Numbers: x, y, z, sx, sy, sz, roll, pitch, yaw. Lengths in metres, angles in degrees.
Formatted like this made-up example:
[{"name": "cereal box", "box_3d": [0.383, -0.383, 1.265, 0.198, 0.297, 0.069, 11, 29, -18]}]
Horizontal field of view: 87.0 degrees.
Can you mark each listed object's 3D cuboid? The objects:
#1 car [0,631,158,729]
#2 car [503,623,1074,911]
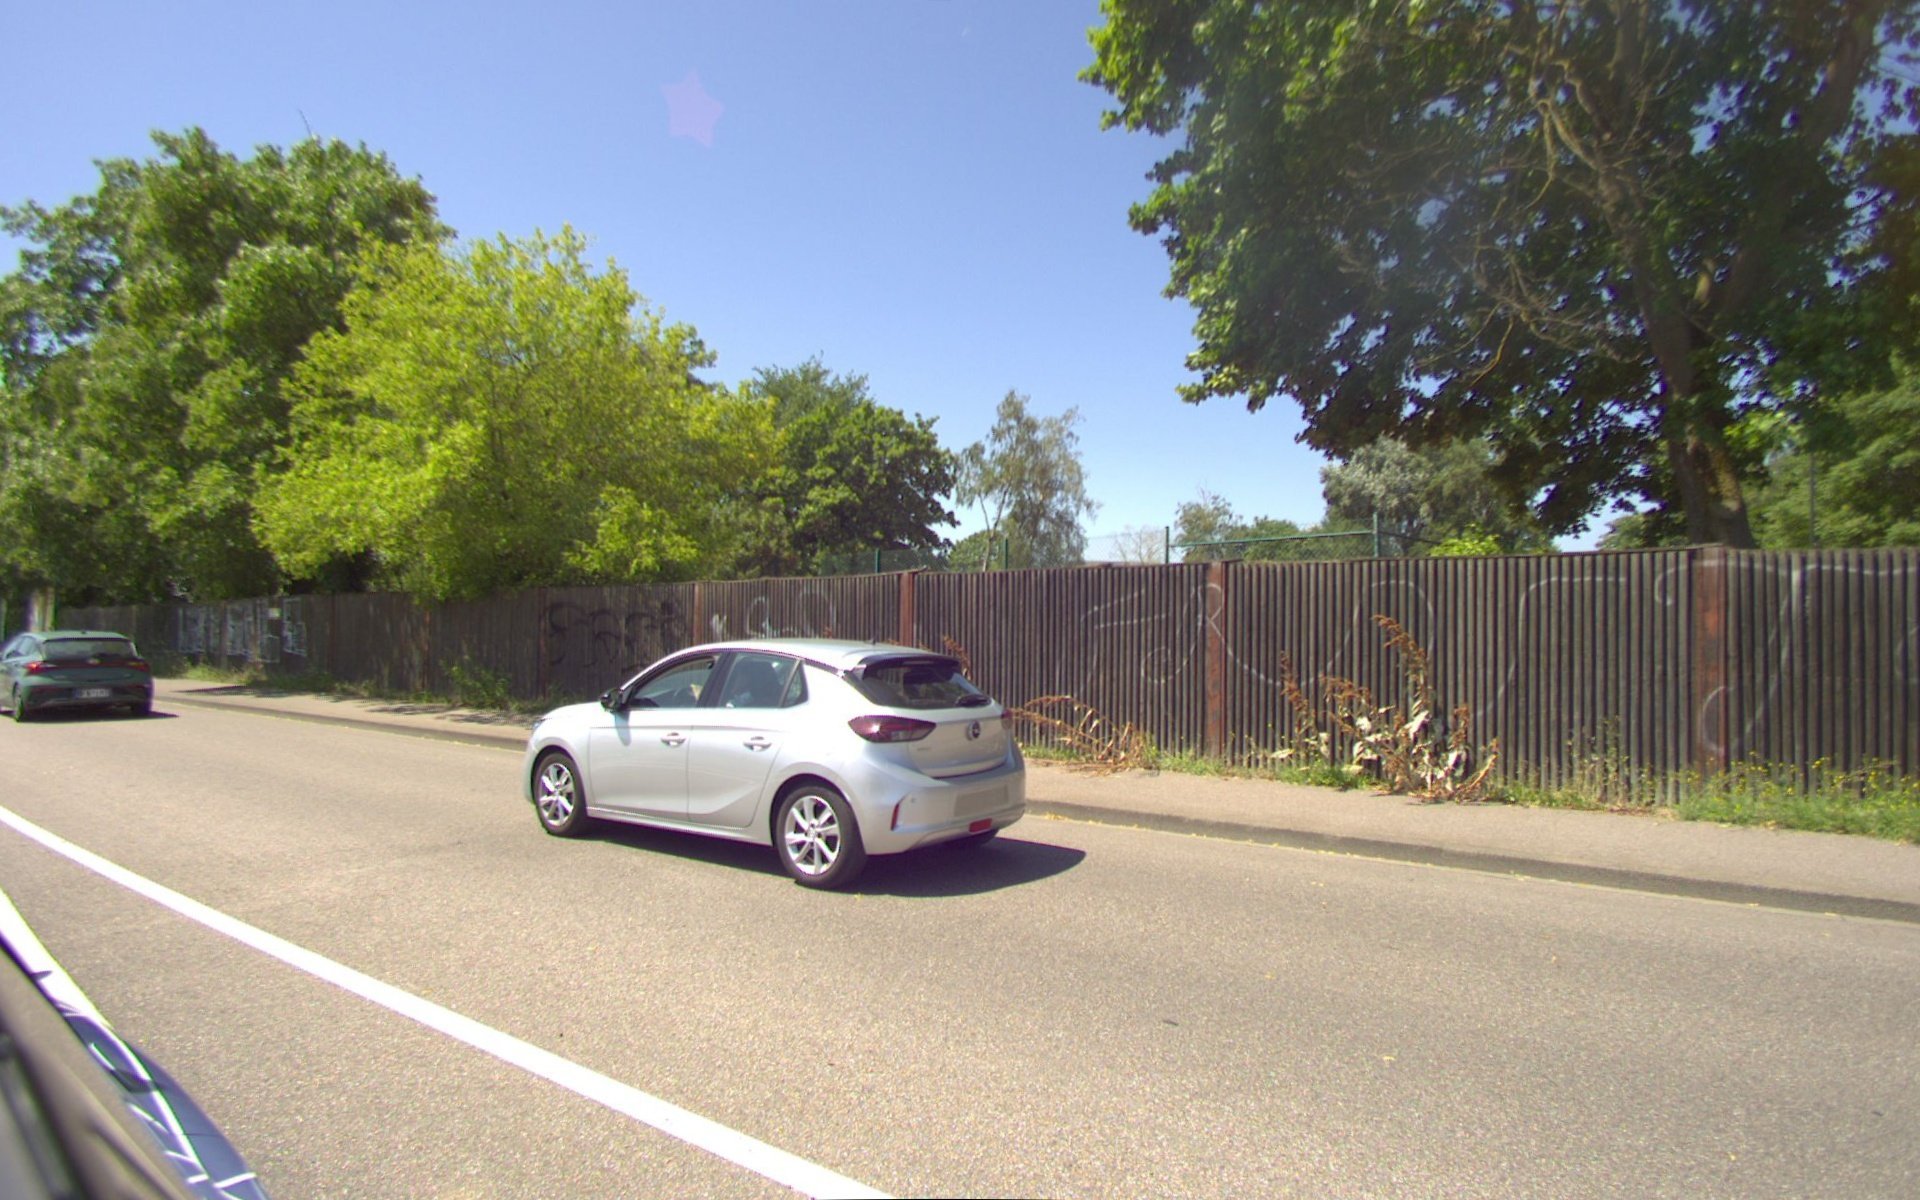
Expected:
[{"name": "car", "box_3d": [-15.442, 1.279, 17.315, 3.686, 1.497, 1.739, -1, -2, 35]}, {"name": "car", "box_3d": [-1.296, 0.930, 7.032, 3.834, 1.475, 1.699, -1, -3, 35]}]
